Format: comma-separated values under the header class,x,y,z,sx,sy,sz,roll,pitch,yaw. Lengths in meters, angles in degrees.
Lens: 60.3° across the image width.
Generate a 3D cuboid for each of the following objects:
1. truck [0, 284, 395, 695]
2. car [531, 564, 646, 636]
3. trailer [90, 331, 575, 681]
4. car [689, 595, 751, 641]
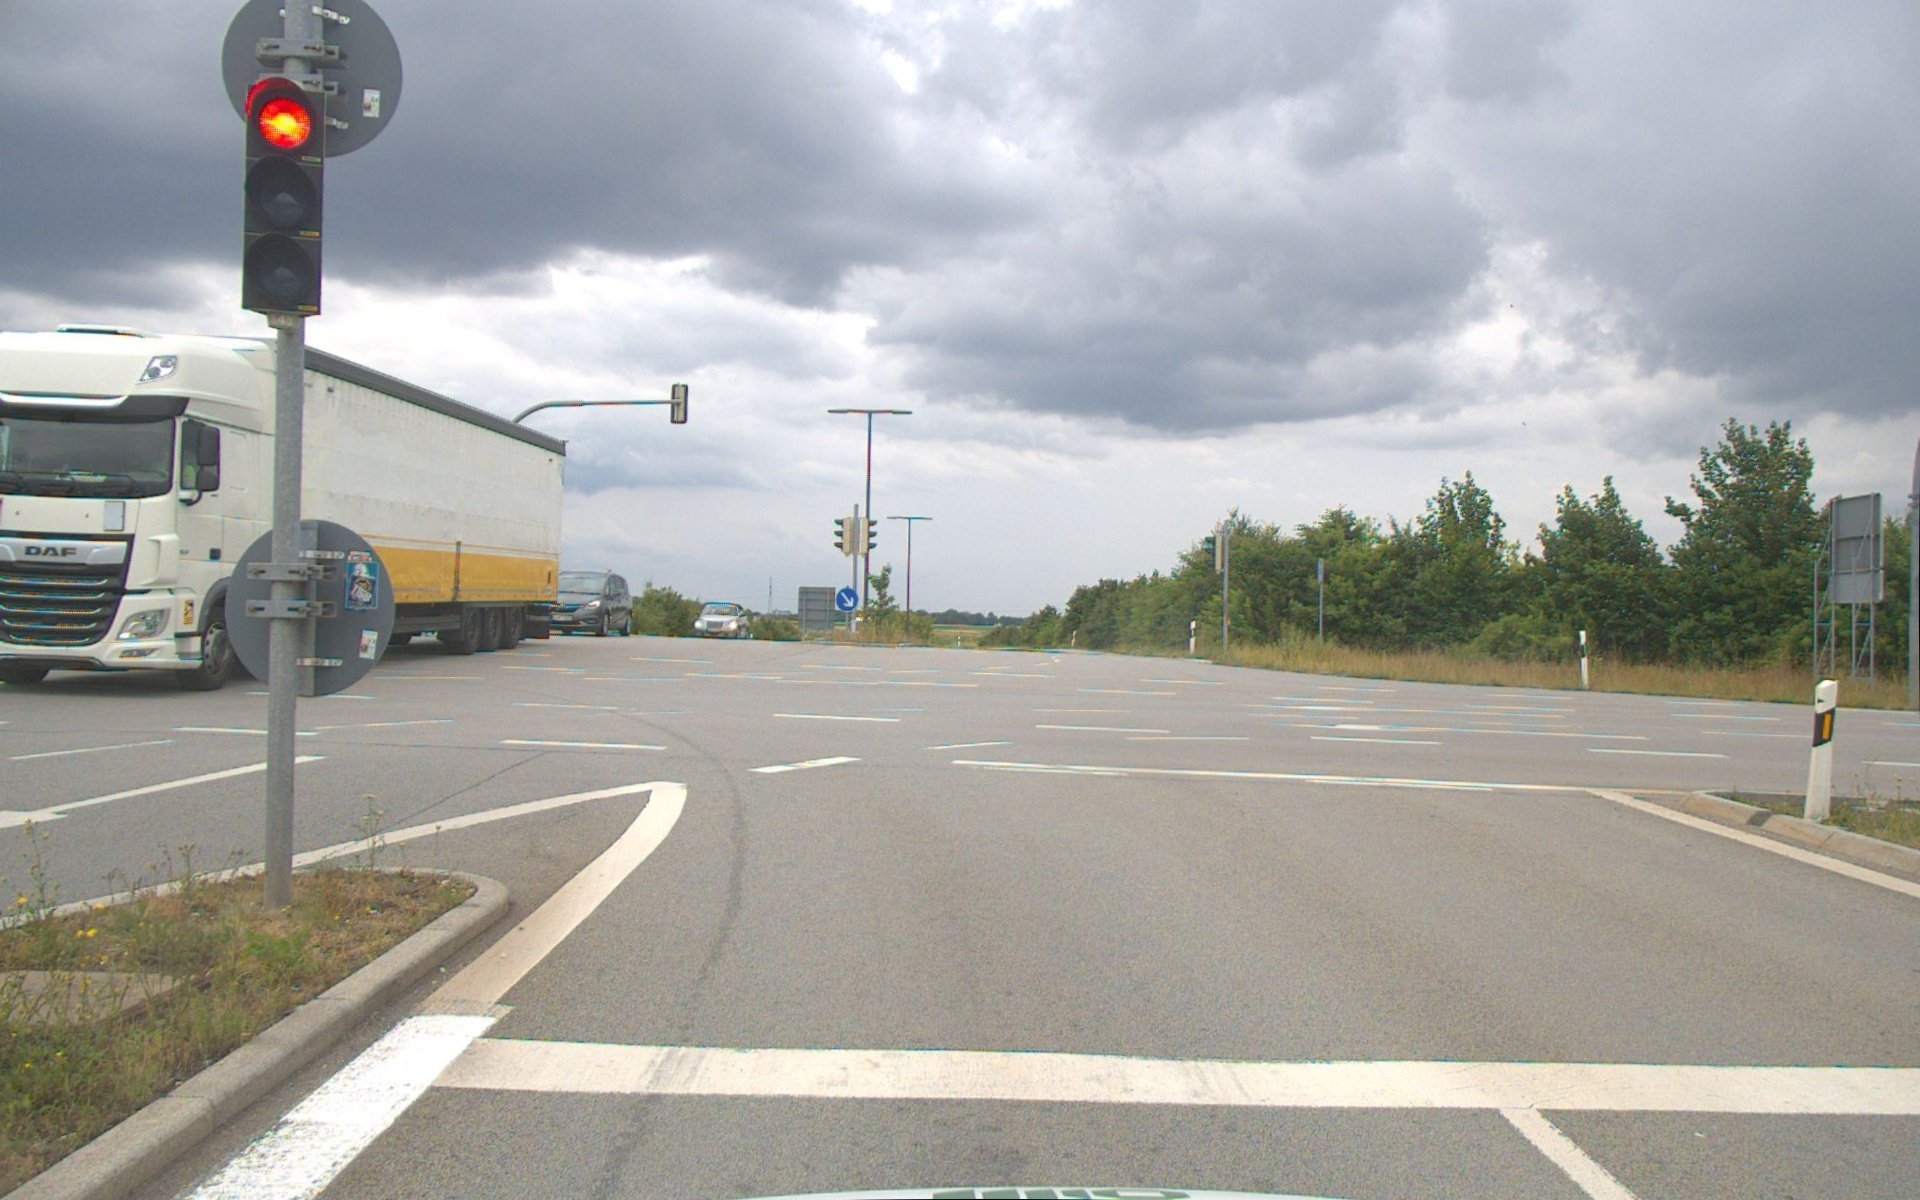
class,x,y,z,sx,sy,sz,roll,pitch,yaw
truck,-9.401,-1.137,20.281,2.595,4.214,6.403,1,0,1
car,-9.453,0.013,42.438,1.953,1.723,4.454,1,0,-1
trailer,-9.371,-1.125,27.380,2.636,4.284,13.840,1,0,0
car,-9.134,0.664,63.123,1.773,1.546,4.242,2,1,-1
